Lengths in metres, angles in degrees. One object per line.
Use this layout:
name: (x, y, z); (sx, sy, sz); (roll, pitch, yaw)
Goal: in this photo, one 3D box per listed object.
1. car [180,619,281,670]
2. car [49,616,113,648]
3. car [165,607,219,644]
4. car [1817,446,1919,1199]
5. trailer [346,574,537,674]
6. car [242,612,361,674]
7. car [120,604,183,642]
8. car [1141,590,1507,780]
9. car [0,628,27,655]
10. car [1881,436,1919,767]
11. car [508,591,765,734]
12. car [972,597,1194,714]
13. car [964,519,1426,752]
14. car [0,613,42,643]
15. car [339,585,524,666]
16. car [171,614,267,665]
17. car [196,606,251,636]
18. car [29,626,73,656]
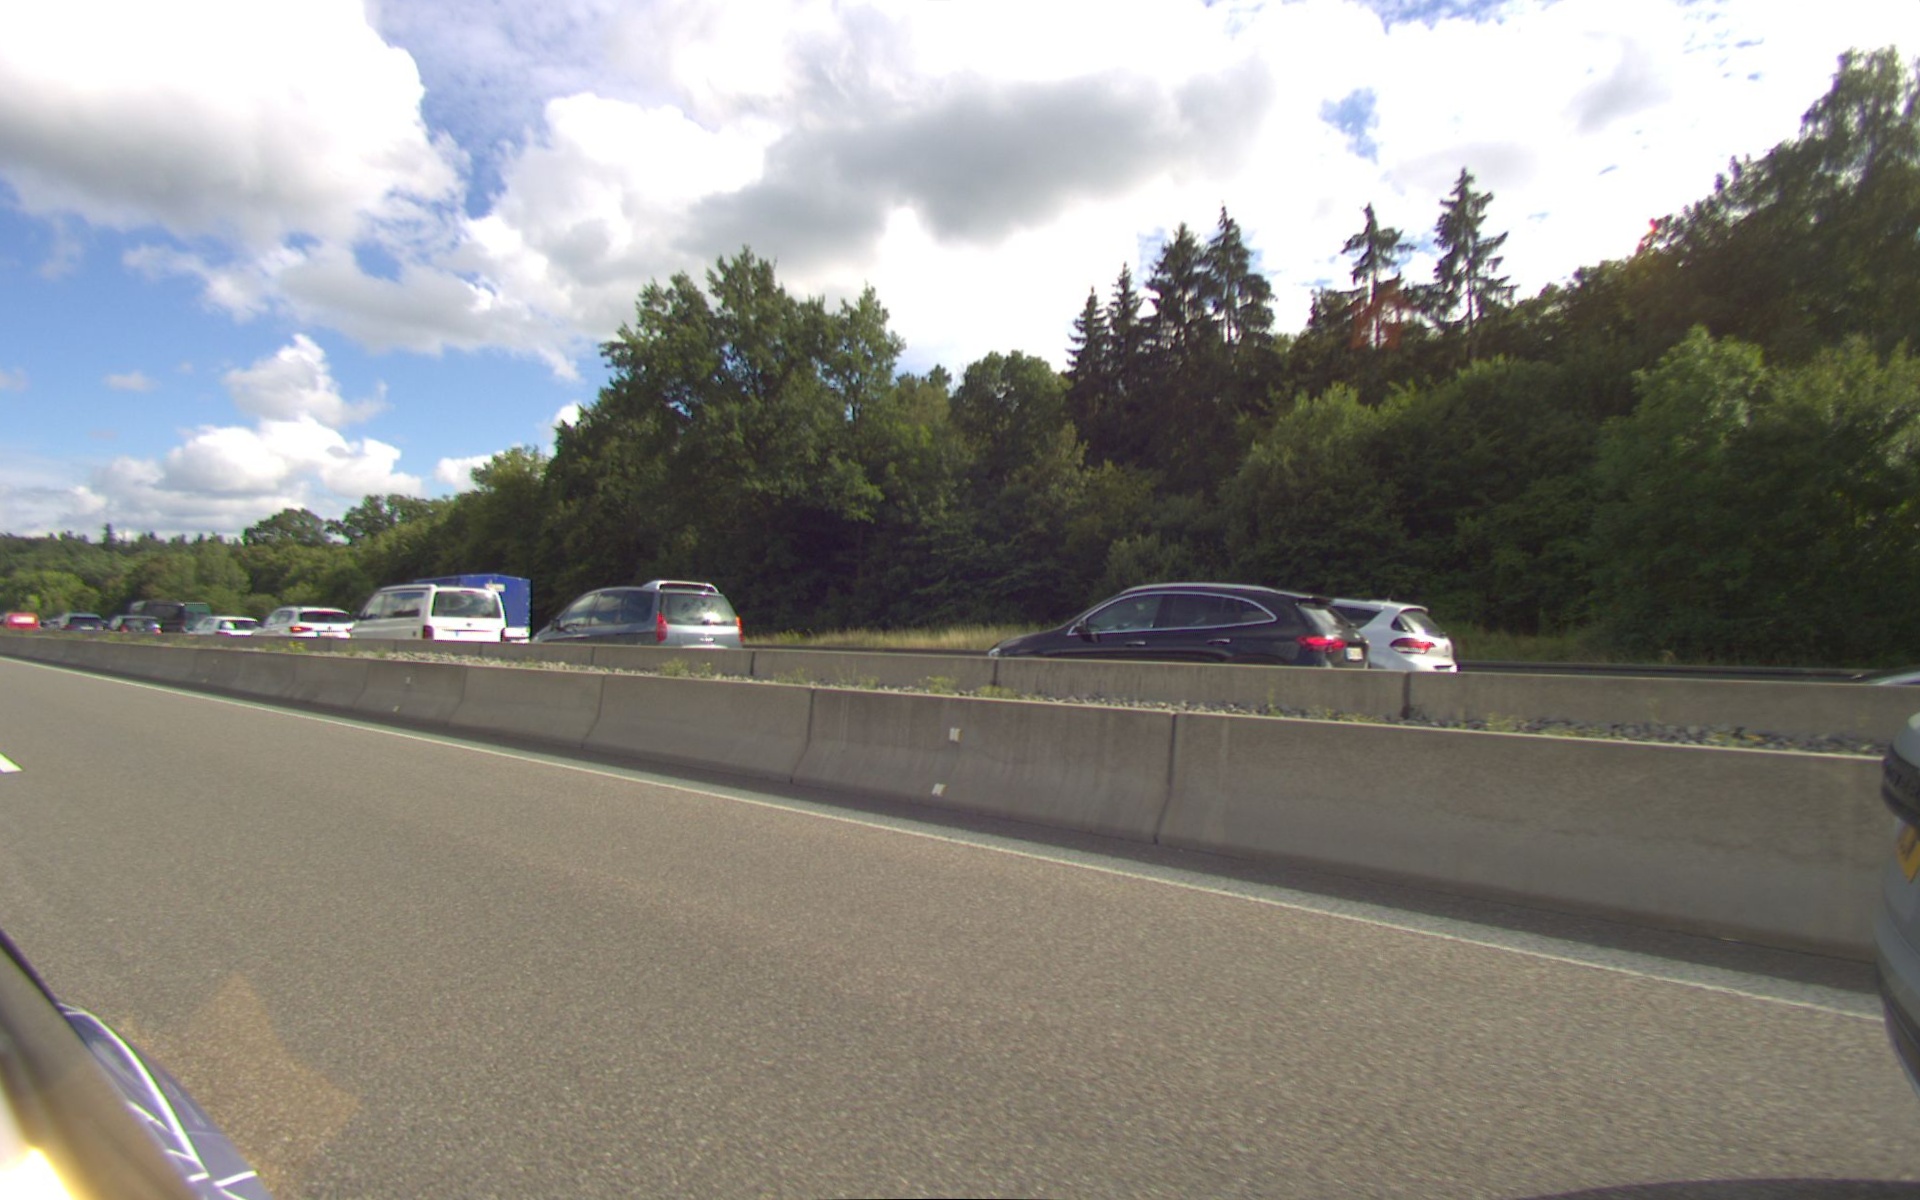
car: (-25.279, 1.499, 35.015); (4.356, 1.584, 1.972); (-1, 0, 42)
car: (-46.255, 1.648, 53.210); (5.206, 1.584, 1.972); (-1, 0, 42)
car: (-52.118, 1.723, 68.612); (5.328, 2.391, 1.972); (-1, 0, 42)
car: (3.892, 0.571, 0.630); (5.102, 1.619, 1.880); (0, 0, 41)
trailer: (-16.567, 0.707, 31.985); (8.534, 2.807, 2.256); (-1, 0, 40)
car: (-18.522, 1.156, 28.409); (4.356, 1.584, 1.747); (-1, 0, 42)
car: (-46.913, 1.313, 58.680); (5.844, 2.047, 1.972); (-1, 0, 42)
car: (4.579, 0.900, 13.051); (4.000, 2.029, 1.972); (1, 1, 42)
car: (-69.231, 3.014, 73.447); (4.458, 1.776, 1.838); (0, 1, 42)
car: (7.910, 0.028, 5.686); (4.000, 2.029, 1.972); (1, 1, 42)
car: (-5.518, 0.892, 16.946); (4.674, 2.029, 1.973); (1, 1, 41)
car: (2.379, 0.986, 20.178); (4.000, 2.029, 1.972); (1, 1, 42)
car: (2.389, 0.267, 11.080); (4.547, 2.029, 1.972); (1, 1, 42)
car: (-59.951, 1.746, 64.127); (5.288, 1.776, 1.857); (-1, 0, 39)
car: (-12.030, 0.539, 22.853); (5.328, 1.584, 1.972); (-1, 1, 42)
car: (-25.231, 1.316, 34.441); (3.510, 1.584, 1.972); (-1, 0, 42)
car: (-46.798, 1.332, 64.237); (4.458, 1.776, 1.972); (-1, 0, 42)
car: (-69.951, 3.123, 77.835); (4.458, 2.029, 1.972); (1, -3, 42)
